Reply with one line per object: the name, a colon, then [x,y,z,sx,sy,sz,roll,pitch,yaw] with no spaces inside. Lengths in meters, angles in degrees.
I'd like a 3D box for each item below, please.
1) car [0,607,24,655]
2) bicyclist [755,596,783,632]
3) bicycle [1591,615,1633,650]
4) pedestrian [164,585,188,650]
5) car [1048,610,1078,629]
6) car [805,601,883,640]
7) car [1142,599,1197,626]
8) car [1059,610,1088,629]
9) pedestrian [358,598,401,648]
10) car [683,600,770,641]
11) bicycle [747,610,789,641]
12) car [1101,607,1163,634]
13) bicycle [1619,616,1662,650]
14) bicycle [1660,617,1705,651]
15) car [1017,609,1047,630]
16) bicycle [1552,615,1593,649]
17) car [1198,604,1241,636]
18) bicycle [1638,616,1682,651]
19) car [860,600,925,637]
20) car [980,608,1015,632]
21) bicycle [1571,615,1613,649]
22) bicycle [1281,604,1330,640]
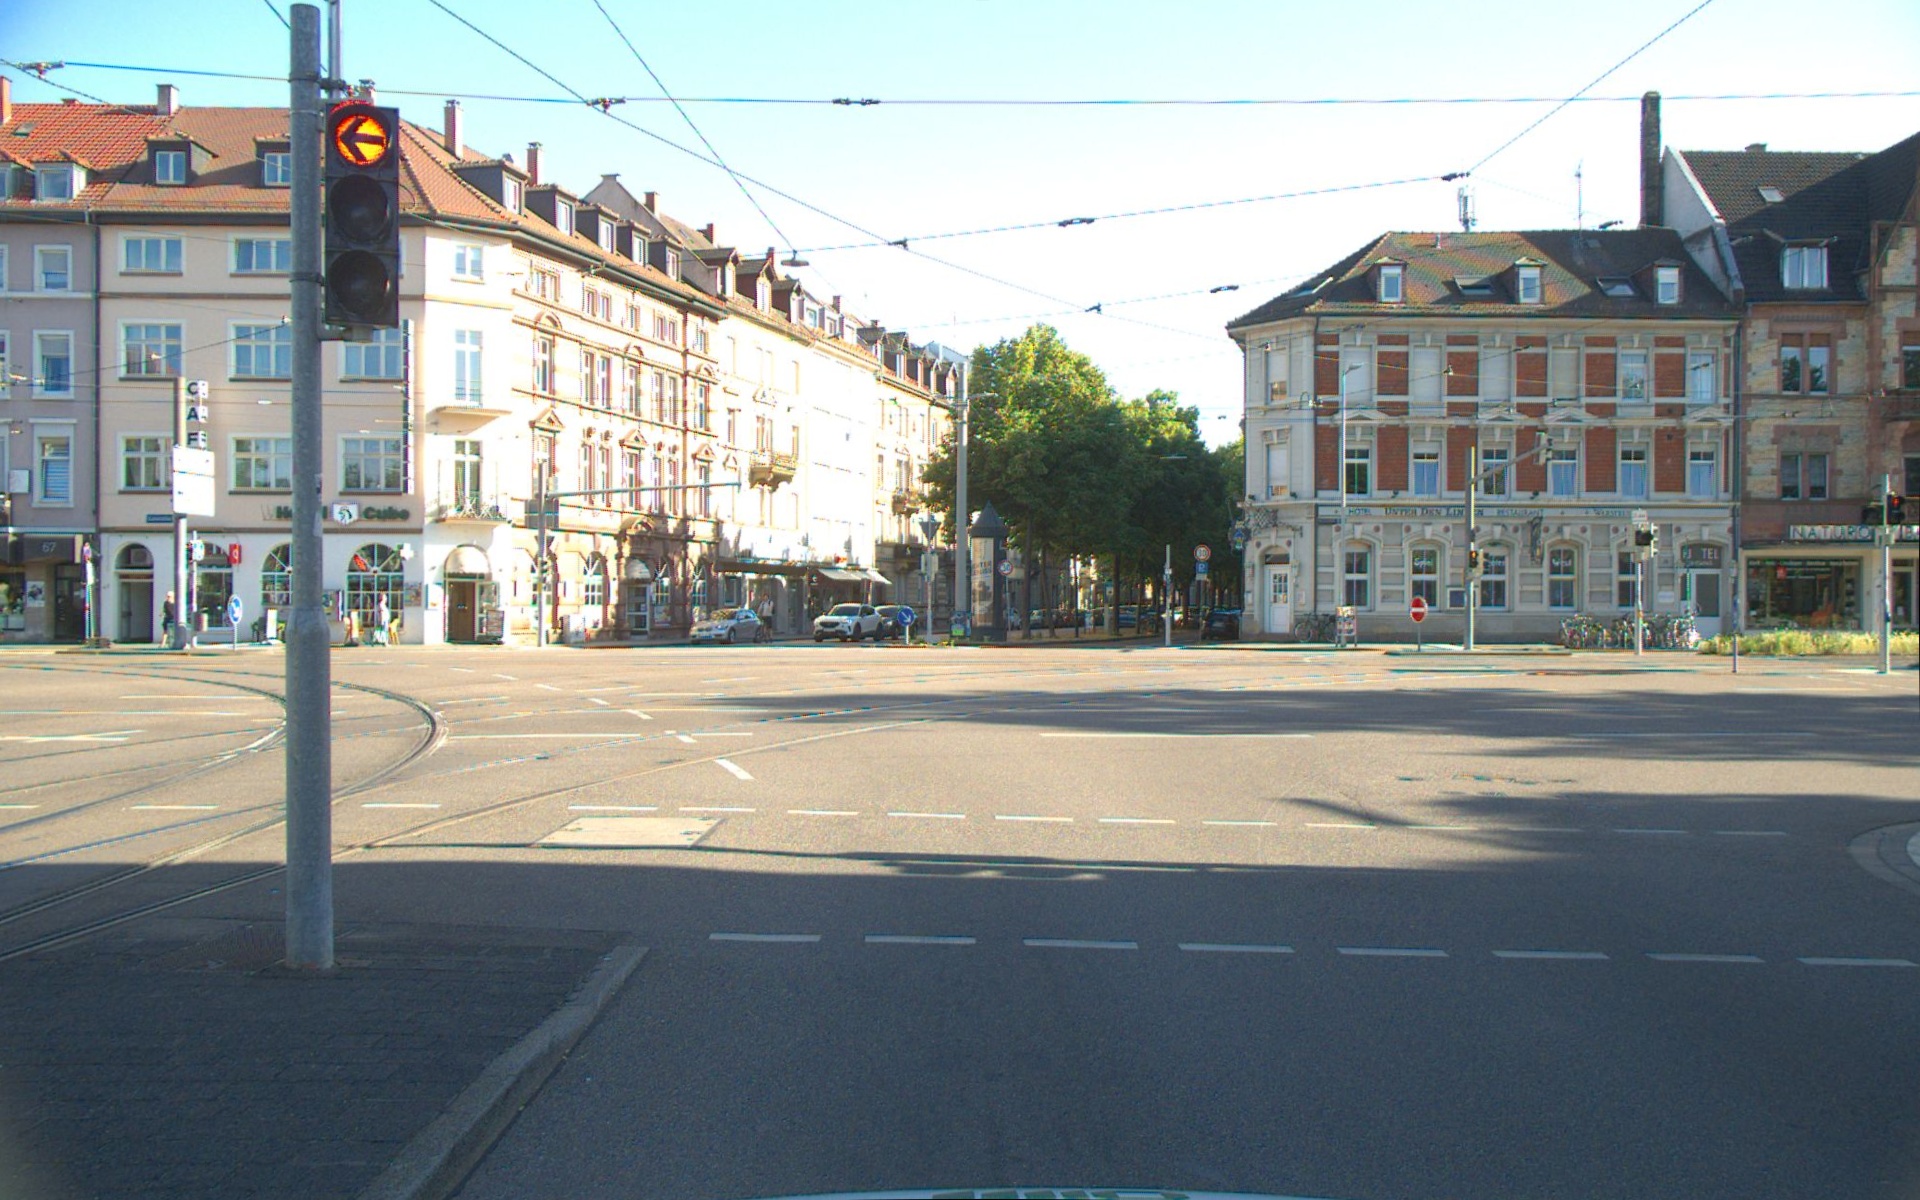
car: [-32.066,1.001,52.158,3.910,1.489,1.998,-1,1,-6]
bicyclist: [-7.563,0.546,65.468,0.776,1.399,1.109,0,0,14]
bicycle: [21.114,1.047,53.597,0.593,1.069,1.641,0,0,-6]
pedestrian: [-24.670,0.541,52.038,0.498,2.049,0.505,0,0,2]
car: [8.240,1.544,131.710,1.704,1.422,4.127,3,0,13]
car: [-4.655,0.792,67.083,2.052,1.525,4.003,0,0,13]
car: [16.954,1.019,133.668,4.026,1.952,1.746,3,0,21]
car: [9.418,1.581,136.506,1.704,1.422,4.127,3,0,13]
pedestrian: [-19.066,0.740,54.334,1.043,1.618,1.042,0,0,1]
car: [-9.454,0.815,67.224,2.052,1.572,4.367,0,0,13]
bicycle: [-7.577,0.997,65.498,0.734,1.155,2.812,0,0,14]
car: [12.001,1.407,115.387,4.024,1.675,1.748,3,0,15]
bicycle: [21.940,1.060,53.329,0.593,1.069,1.641,0,0,-6]
bicycle: [23.327,1.085,53.426,0.593,1.069,1.641,0,0,-6]
car: [5.331,1.419,122.843,1.704,1.422,4.127,3,0,9]
bicycle: [19.822,1.025,53.515,0.593,1.069,1.641,0,0,-6]
car: [12.971,1.005,82.469,1.616,1.551,3.755,0,-1,17]
bicycle: [22.601,1.072,53.405,0.593,1.069,1.641,0,0,-6]
car: [-2.962,0.800,73.476,1.951,1.540,4.004,0,0,11]
car: [2.523,1.315,110.020,1.704,1.422,4.127,3,0,9]
bicycle: [20.462,1.036,53.571,0.593,1.069,1.641,0,0,-6]
bicycle: [11.972,0.764,57.305,1.603,1.243,0.607,0,0,16]
